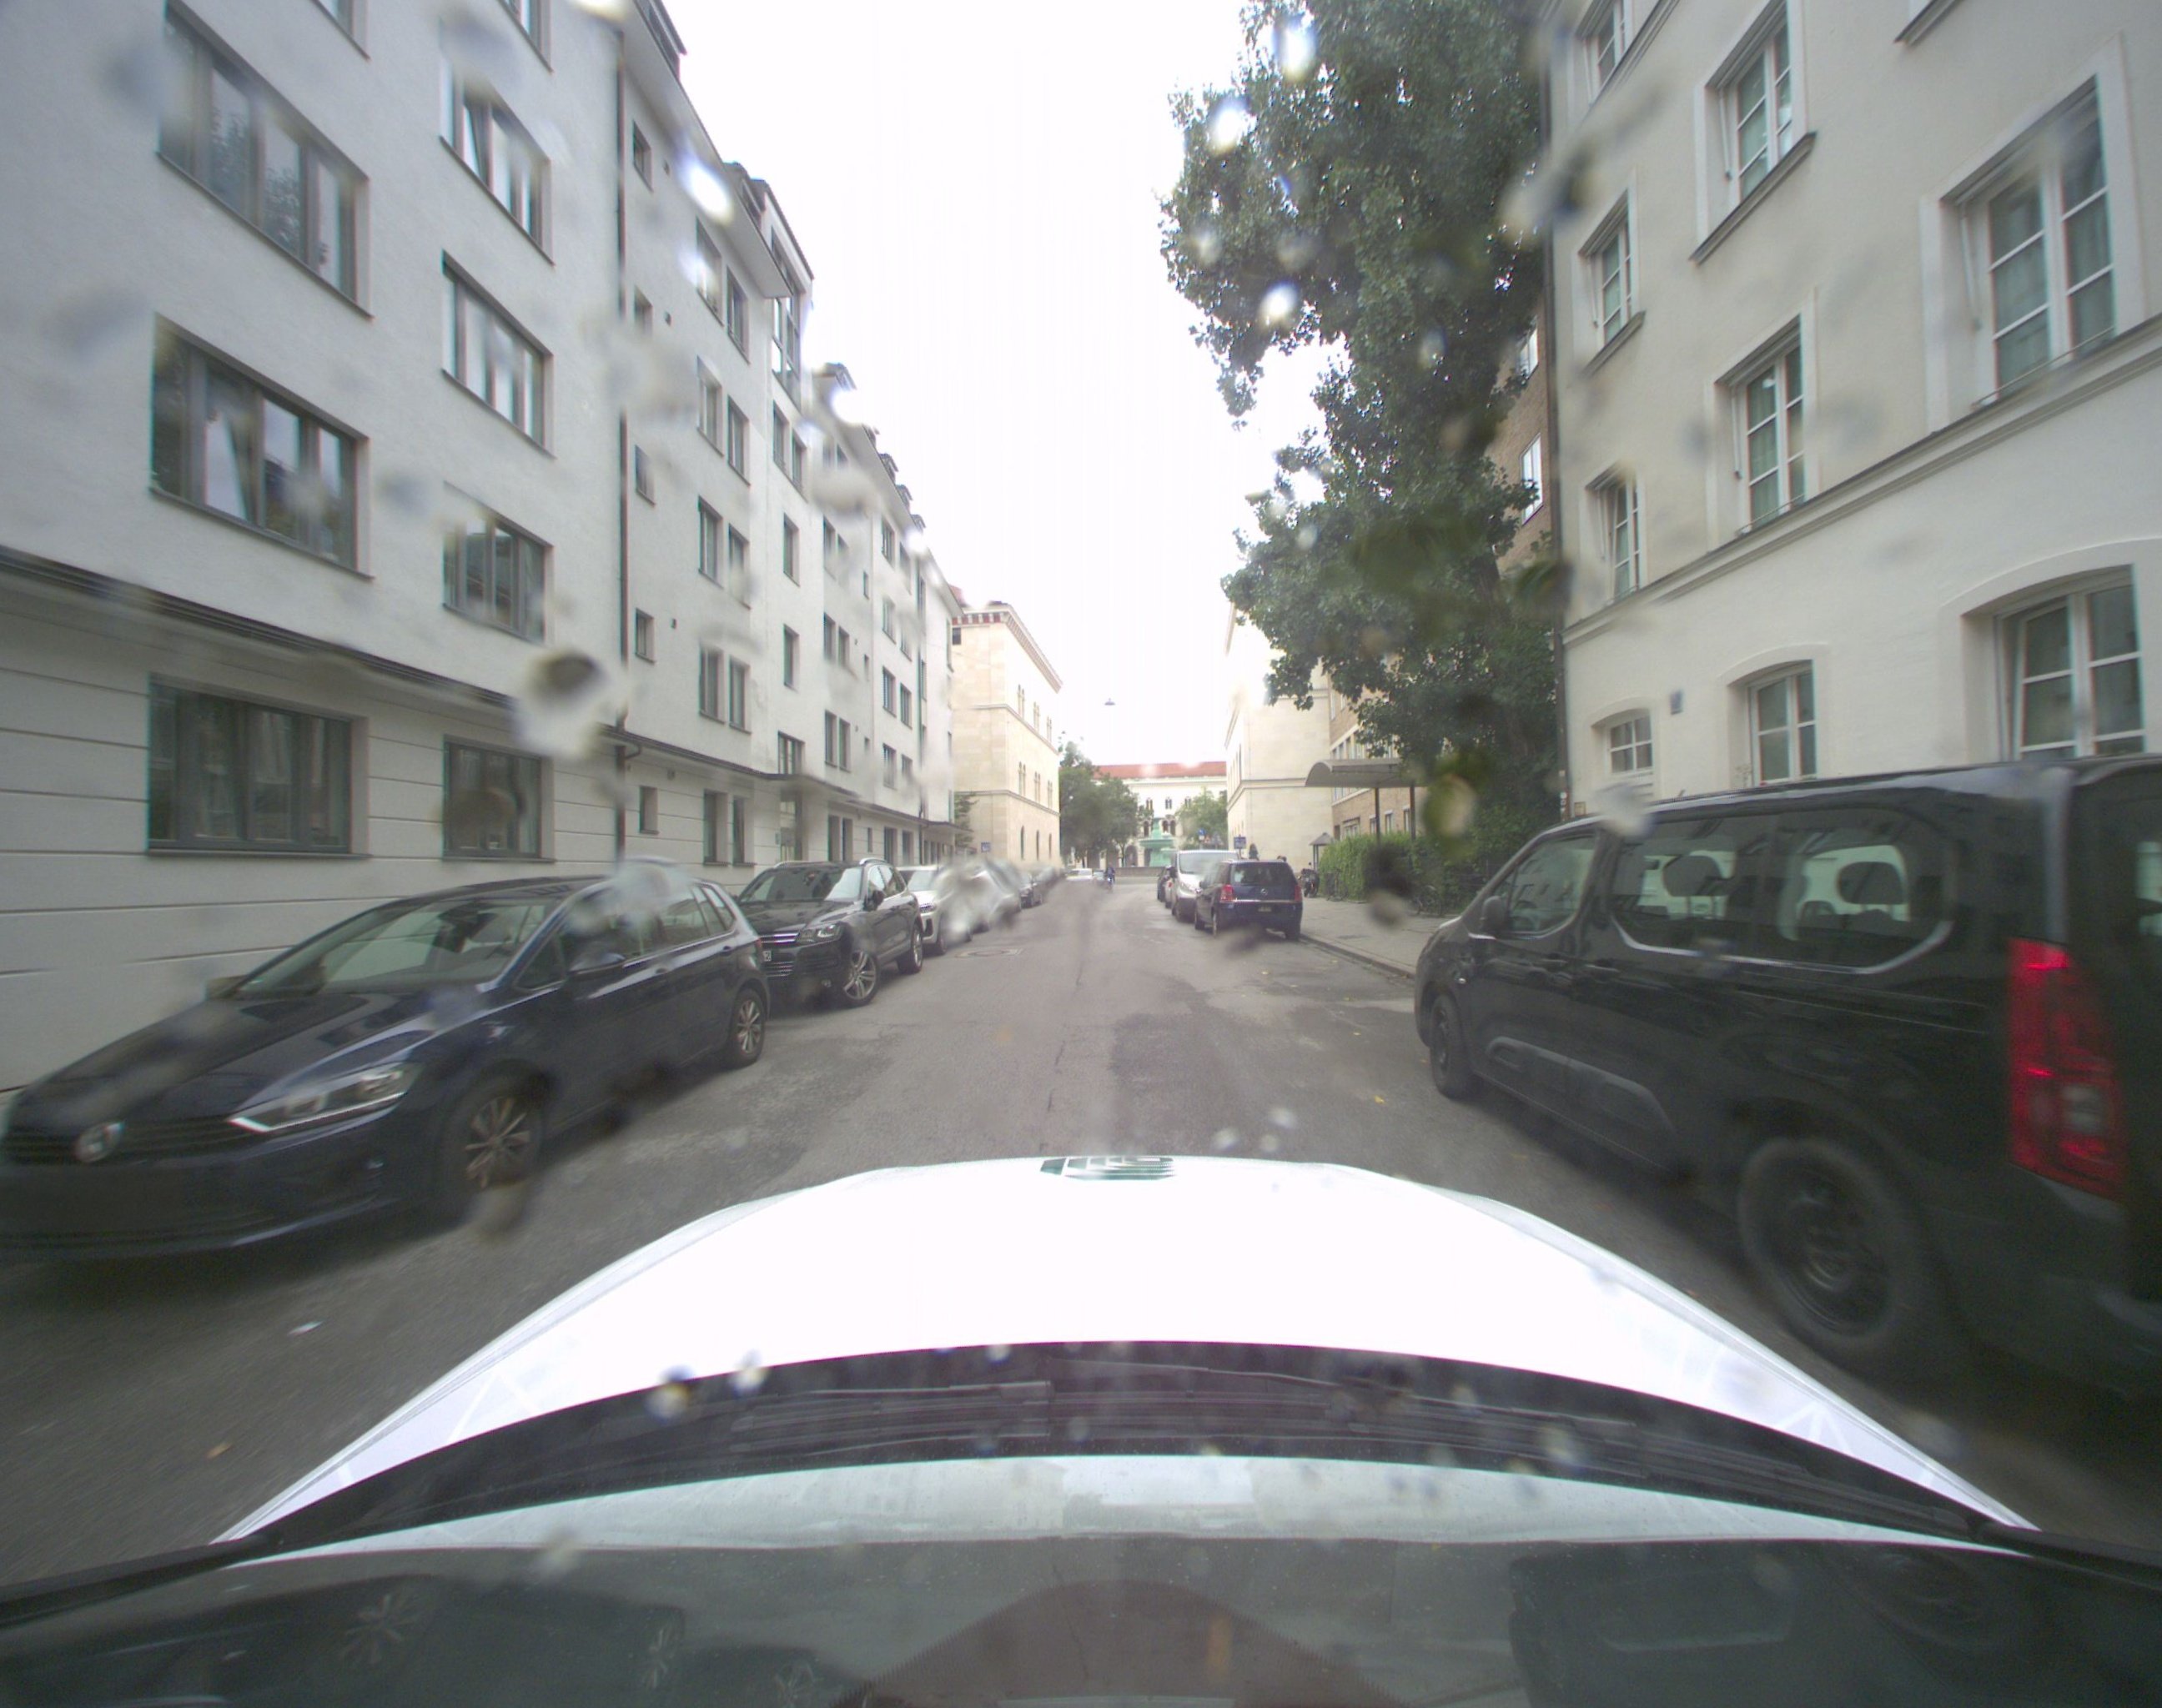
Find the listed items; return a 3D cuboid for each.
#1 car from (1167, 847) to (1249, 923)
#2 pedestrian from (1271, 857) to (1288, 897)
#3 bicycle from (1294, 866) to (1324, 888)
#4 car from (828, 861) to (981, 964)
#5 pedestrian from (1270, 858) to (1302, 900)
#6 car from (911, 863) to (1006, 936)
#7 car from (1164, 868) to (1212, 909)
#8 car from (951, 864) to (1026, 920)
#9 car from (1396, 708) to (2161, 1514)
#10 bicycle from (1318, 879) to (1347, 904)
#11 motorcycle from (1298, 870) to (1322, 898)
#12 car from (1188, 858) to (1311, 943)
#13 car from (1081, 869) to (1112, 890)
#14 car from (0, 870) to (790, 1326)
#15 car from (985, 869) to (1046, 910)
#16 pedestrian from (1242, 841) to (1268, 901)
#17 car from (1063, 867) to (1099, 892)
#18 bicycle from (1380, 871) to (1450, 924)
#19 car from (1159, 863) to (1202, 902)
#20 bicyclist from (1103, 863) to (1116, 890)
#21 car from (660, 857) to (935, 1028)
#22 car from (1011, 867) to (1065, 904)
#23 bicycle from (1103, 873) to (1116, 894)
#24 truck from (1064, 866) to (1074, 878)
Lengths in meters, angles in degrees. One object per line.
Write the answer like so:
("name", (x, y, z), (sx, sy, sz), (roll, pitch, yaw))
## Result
("car", (3.542, 0.840, 23.509), (1.874, 1.924, 4.879), (-1, -1, 4))
("pedestrian", (8.154, 0.940, 33.441), (0.584, 1.633, 0.878), (-1, -1, 7))
("bicycle", (11.722, 1.190, 41.916), (1.422, 1.042, 0.349), (-3, -1, 5))
("car", (-3.297, 1.017, 16.187), (1.865, 1.658, 4.591), (-3, 0, 1))
("pedestrian", (7.783, 0.929, 30.940), (0.951, 1.547, 0.670), (-1, -1, -14))
("car", (-3.199, 1.133, 22.090), (1.867, 1.658, 4.588), (-3, 0, -1))
("car", (4.018, 1.253, 30.980), (1.665, 1.417, 4.207), (-1, -1, 6))
("car", (-3.054, 1.222, 27.716), (1.865, 1.658, 4.081), (-3, 0, 2))
("car", (3.153, 0.612, 3.890), (1.839, 1.776, 4.203), (1, -1, 2))
("bicycle", (8.797, 1.311, 28.492), (0.515, 0.817, 1.433), (-2, -1, -1))
("motorcycle", (9.191, 1.186, 32.743), (0.486, 1.054, 1.925), (-1, -1, 3))
("car", (3.533, 0.918, 17.837), (1.802, 1.600, 4.214), (-1, -1, 0))
("car", (1.165, 1.829, 59.406), (1.689, 1.393, 4.220), (-3, -2, 7))
("car", (-3.513, 0.948, 5.070), (1.767, 1.539, 4.160), (-3, 0, 1))
("car", (-2.612, 1.393, 33.137), (1.742, 1.453, 4.021), (-3, 0, 5))
("pedestrian", (6.500, 0.624, 30.442), (0.790, 2.198, 0.814), (-1, -1, 1))
("car", (0.040, 1.650, 53.091), (1.769, 1.535, 4.218), (-3, -2, 6))
("bicycle", (7.357, 0.932, 18.059), (0.667, 1.074, 2.225), (-2, -1, 2))
("car", (4.314, 1.233, 35.801), (1.739, 1.594, 3.961), (-1, -1, 5))
("bicyclist", (1.688, 1.318, 48.456), (0.654, 1.551, 0.888), (-2, -2, 4))
("car", (-3.346, 0.924, 10.690), (1.865, 1.688, 4.521), (-3, 0, 1))
("car", (-1.923, 1.415, 37.875), (1.741, 1.453, 4.024), (-3, 0, 7))
("bicycle", (1.703, 1.735, 48.318), (0.646, 1.197, 1.952), (-2, -1, 4))
("truck", (-2.535, 3.844, 177.702), (1.989, 2.489, 3.994), (0, -1, -4))
